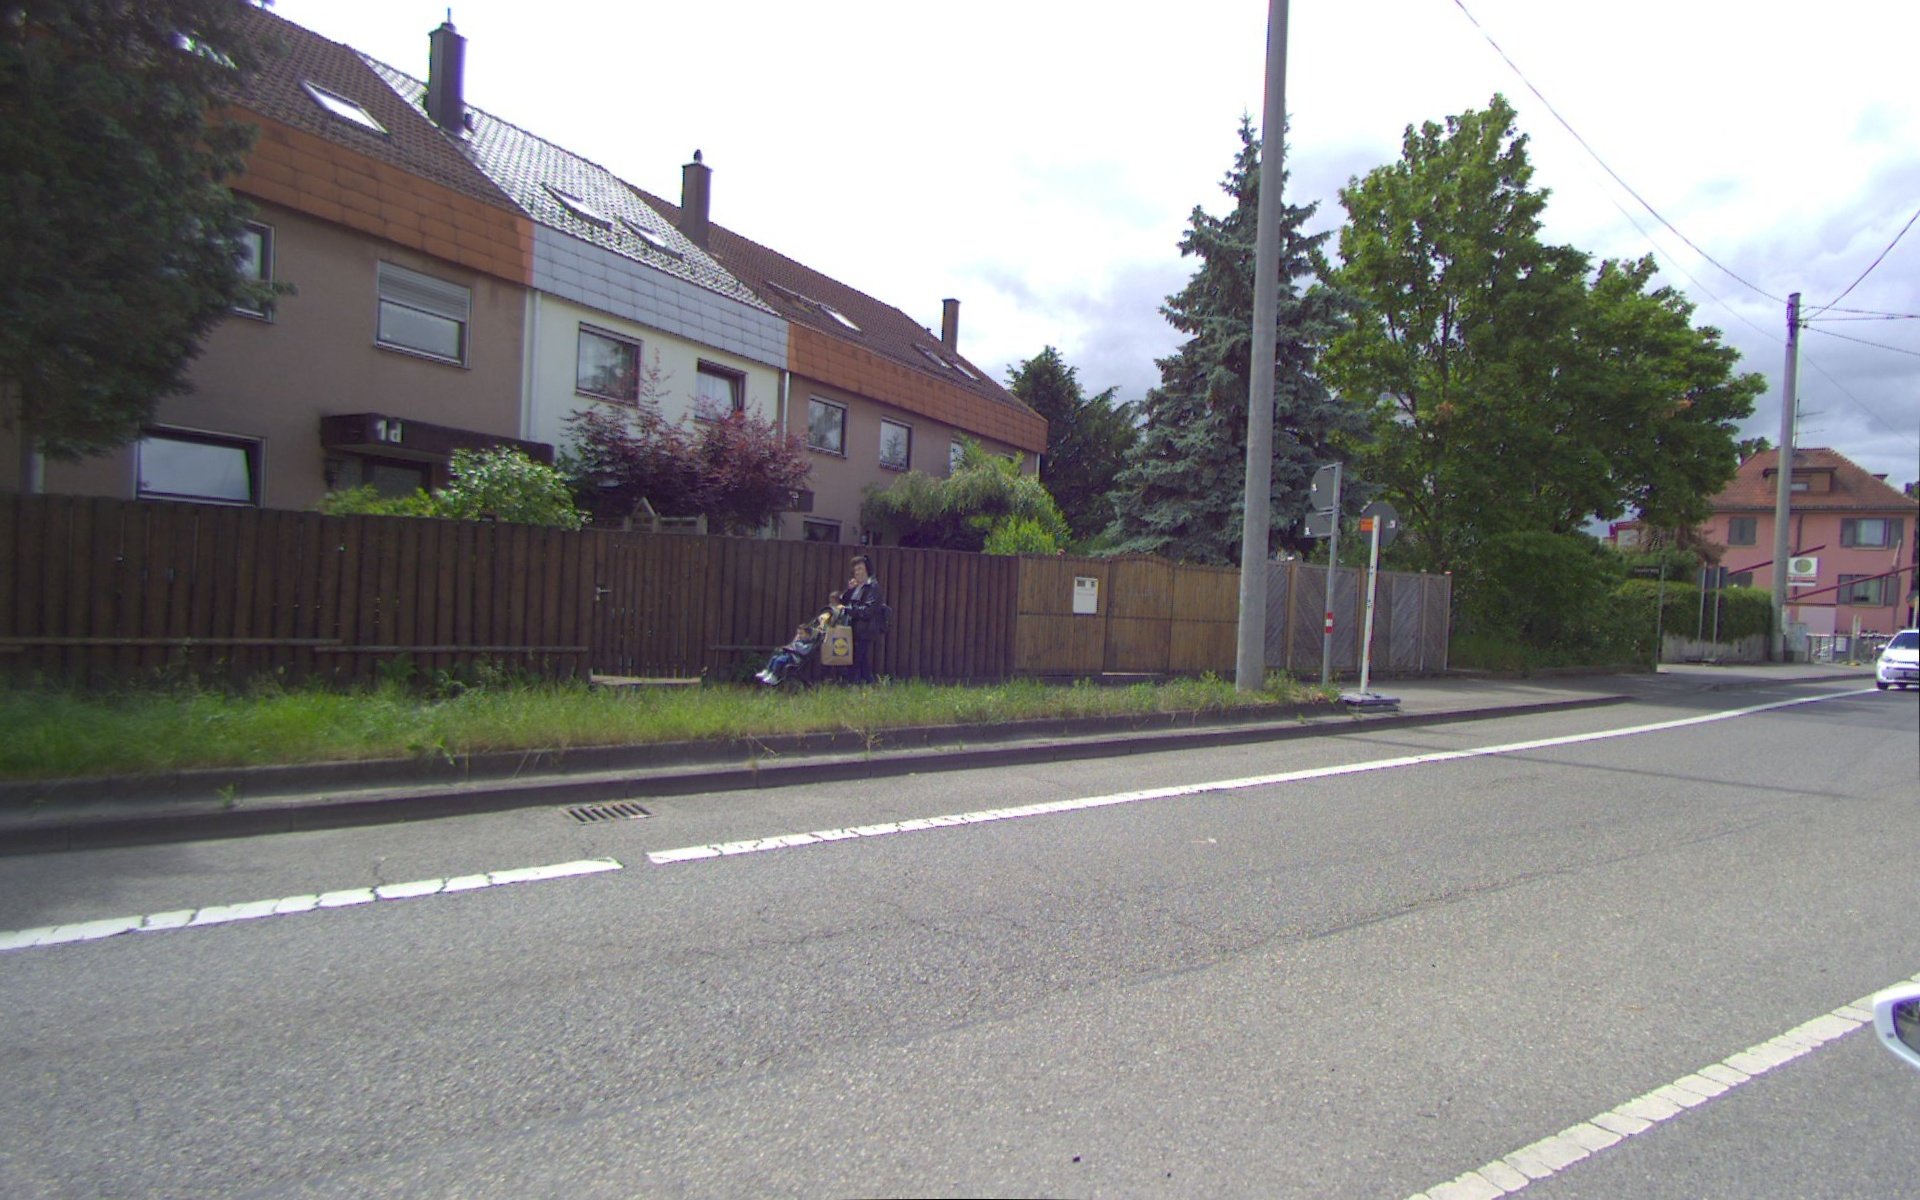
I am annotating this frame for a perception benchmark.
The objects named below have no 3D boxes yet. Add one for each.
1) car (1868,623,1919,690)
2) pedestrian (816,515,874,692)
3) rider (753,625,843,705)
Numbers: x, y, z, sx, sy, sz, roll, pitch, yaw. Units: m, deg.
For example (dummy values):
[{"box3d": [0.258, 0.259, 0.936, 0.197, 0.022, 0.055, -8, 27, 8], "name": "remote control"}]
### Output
[{"box3d": [23.645, 1.421, 24.488, 3.971, 1.528, 1.870, 4, -2, -42], "name": "car"}, {"box3d": [-1.355, 0.036, 11.820, 0.410, 2.040, 0.400, 3, 3, -33], "name": "pedestrian"}, {"box3d": [-1.734, 0.684, 10.696, 0.682, 0.744, 0.725, 3, 3, -31], "name": "rider"}]
